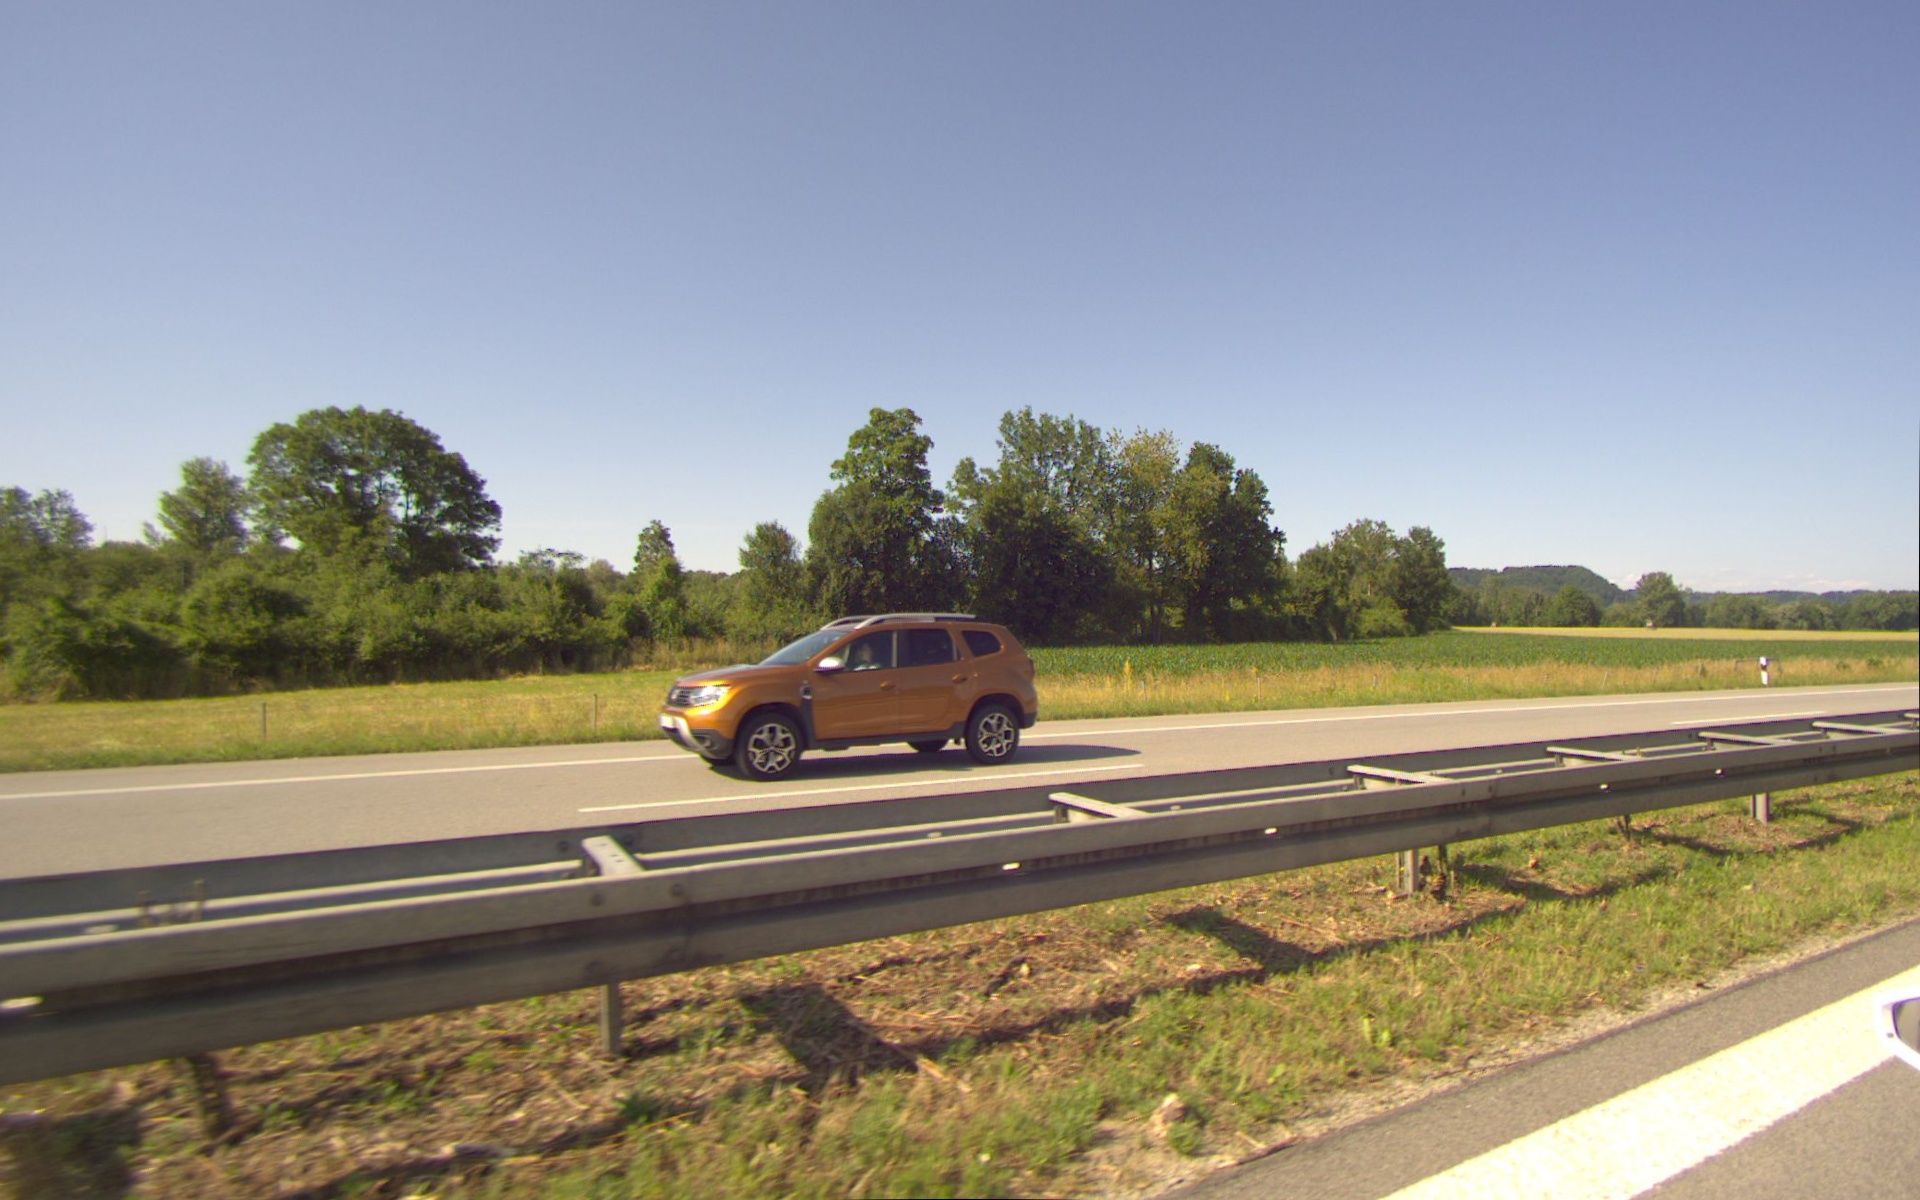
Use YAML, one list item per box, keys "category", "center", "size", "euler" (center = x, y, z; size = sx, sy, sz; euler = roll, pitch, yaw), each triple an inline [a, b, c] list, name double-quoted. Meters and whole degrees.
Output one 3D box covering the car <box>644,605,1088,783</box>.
- category: "car"
  center: [-1.013, 0.969, 11.577]
  size: [4.719, 1.683, 1.984]
  euler: [1, -3, -30]
